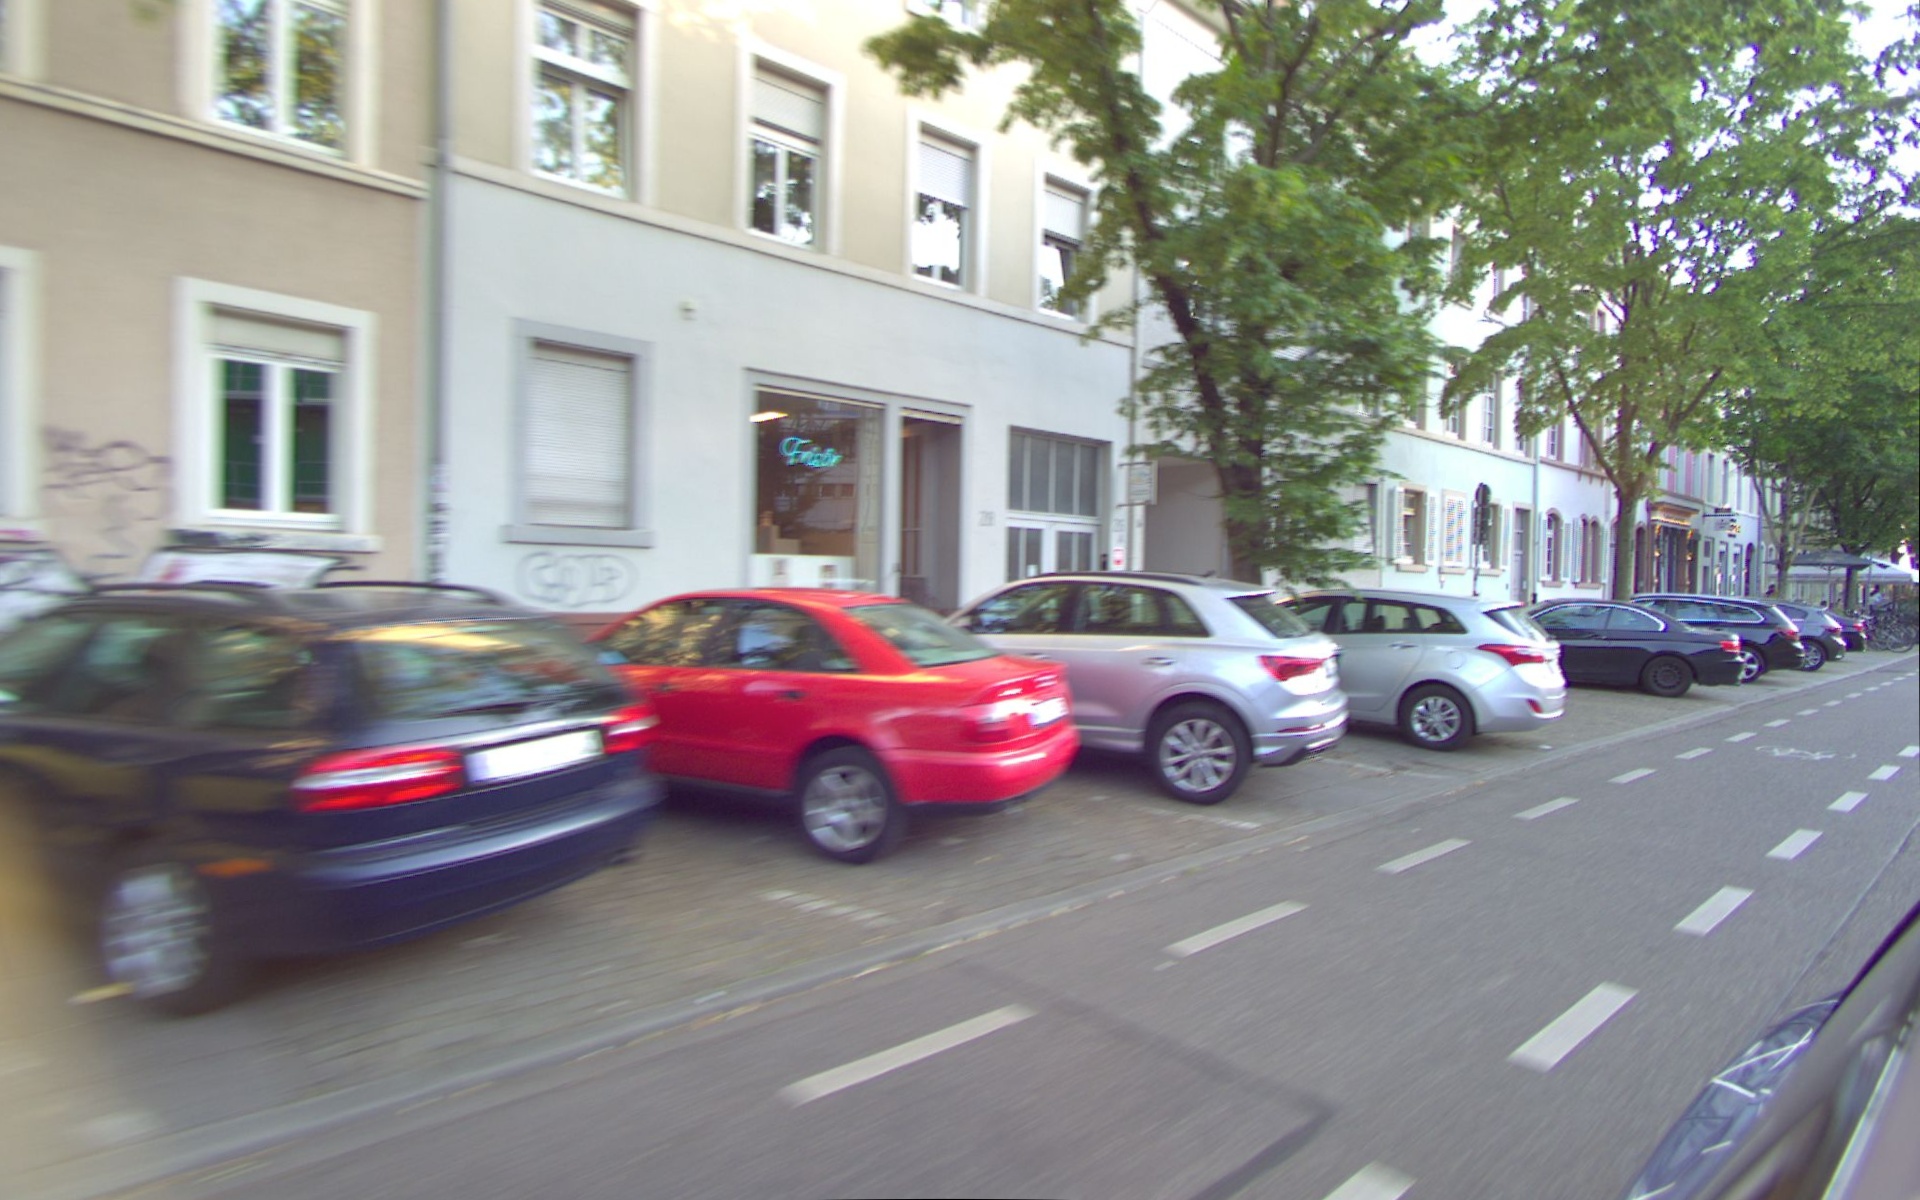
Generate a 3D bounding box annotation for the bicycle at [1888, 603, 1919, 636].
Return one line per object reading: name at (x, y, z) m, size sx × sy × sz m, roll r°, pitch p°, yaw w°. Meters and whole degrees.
bicycle at (32.156, 0.677, 33.744) m, size 0.547 × 1.044 × 1.682 m, roll 0°, pitch 4°, yaw -42°

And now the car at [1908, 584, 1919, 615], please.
car at (54.322, 0.123, 54.415) m, size 1.973 × 1.708 × 4.659 m, roll 1°, pitch 4°, yaw -41°

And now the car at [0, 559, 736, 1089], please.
car at (-3.287, 0.591, 4.677) m, size 4.091 × 1.442 × 1.905 m, roll 3°, pitch 3°, yaw 25°

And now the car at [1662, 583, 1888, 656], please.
car at (20.479, 0.426, 25.693) m, size 4.143 × 1.443 × 1.804 m, roll 5°, pitch 3°, yaw 31°

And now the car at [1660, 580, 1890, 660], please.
car at (19.053, 0.395, 23.930) m, size 3.935 × 1.488 × 1.977 m, roll 5°, pitch 3°, yaw 33°

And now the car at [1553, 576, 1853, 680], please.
car at (13.609, 0.435, 18.900) m, size 4.088 × 1.488 × 1.998 m, roll 5°, pitch 3°, yaw 25°

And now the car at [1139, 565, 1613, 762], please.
car at (4.286, 0.480, 10.755) m, size 4.245 × 1.568 × 1.991 m, roll 4°, pitch 3°, yaw 39°

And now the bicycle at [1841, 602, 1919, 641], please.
bicycle at (28.835, 0.655, 31.589) m, size 0.598 × 1.044 × 1.890 m, roll 0°, pitch 4°, yaw -42°

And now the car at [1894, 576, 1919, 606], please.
car at (62.226, -0.476, 63.431) m, size 4.942 × 1.849 × 2.184 m, roll 4°, pitch 3°, yaw 32°

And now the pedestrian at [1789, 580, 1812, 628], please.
pedestrian at (32.054, 0.140, 38.583) m, size 0.548 × 1.785 × 0.707 m, roll 1°, pitch 1°, yaw 32°

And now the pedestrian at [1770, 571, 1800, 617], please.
pedestrian at (32.599, -0.230, 39.996) m, size 0.696 × 1.785 × 0.710 m, roll 0°, pitch 0°, yaw 22°

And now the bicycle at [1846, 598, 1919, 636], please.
bicycle at (29.842, 0.546, 32.557) m, size 0.598 × 1.044 × 1.890 m, roll 0°, pitch 4°, yaw -42°

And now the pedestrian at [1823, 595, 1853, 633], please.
pedestrian at (31.146, 0.487, 35.897) m, size 0.588 × 1.308 × 0.504 m, roll 0°, pitch 0°, yaw -2°

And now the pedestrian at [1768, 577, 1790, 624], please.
pedestrian at (31.391, 0.017, 38.793) m, size 0.548 × 1.785 × 0.843 m, roll 0°, pitch 0°, yaw 32°

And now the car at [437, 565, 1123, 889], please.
car at (-1.183, 0.562, 6.618) m, size 4.091 × 1.442 × 1.883 m, roll 3°, pitch 3°, yaw 25°

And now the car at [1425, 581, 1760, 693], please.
car at (9.754, 0.487, 16.096) m, size 4.221 × 1.409 × 1.998 m, roll 3°, pitch 3°, yaw 26°

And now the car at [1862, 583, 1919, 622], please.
car at (41.684, 0.158, 43.514) m, size 3.932 × 1.572 × 1.692 m, roll 3°, pitch 3°, yaw 25°

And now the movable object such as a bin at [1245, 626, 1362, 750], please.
movable object such as a bin at (3.173, 0.785, 9.358) m, size 0.820 × 0.993 × 0.583 m, roll 6°, pitch 5°, yaw 39°

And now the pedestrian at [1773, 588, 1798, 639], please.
pedestrian at (29.297, 0.468, 35.919) m, size 0.878 × 1.785 × 0.551 m, roll 0°, pitch 0°, yaw -41°

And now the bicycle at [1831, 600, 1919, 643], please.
bicycle at (27.309, 0.622, 30.187) m, size 0.663 × 1.080 × 1.890 m, roll 0°, pitch 4°, yaw -42°

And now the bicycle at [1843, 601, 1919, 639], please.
bicycle at (29.311, 0.627, 32.068) m, size 0.598 × 1.044 × 1.890 m, roll 0°, pitch 4°, yaw -42°

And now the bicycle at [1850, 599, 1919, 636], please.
bicycle at (30.363, 0.552, 33.012) m, size 0.598 × 1.044 × 1.890 m, roll 0°, pitch 4°, yaw -42°

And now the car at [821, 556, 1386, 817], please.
car at (1.140, 0.491, 8.345) m, size 4.224 × 1.579 × 1.881 m, roll 3°, pitch 3°, yaw 27°

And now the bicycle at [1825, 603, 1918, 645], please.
bicycle at (26.391, 0.675, 29.325) m, size 0.524 × 1.044 × 1.907 m, roll 0°, pitch 4°, yaw -42°

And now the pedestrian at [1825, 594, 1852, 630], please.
pedestrian at (33.632, 0.460, 38.743) m, size 0.546 × 1.322 × 0.710 m, roll 2°, pitch 1°, yaw 22°

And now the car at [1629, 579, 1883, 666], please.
car at (17.295, 0.418, 22.294) m, size 4.099 × 1.488 × 1.803 m, roll 5°, pitch 3°, yaw 32°

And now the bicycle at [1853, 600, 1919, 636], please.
bicycle at (30.829, 0.591, 33.471) m, size 0.598 × 1.044 × 1.819 m, roll 0°, pitch 4°, yaw -42°

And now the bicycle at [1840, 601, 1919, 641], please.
bicycle at (28.336, 0.624, 31.063) m, size 0.598 × 1.044 × 1.890 m, roll 0°, pitch 4°, yaw -42°

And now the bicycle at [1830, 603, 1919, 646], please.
bicycle at (26.828, 0.701, 29.704) m, size 0.581 × 1.044 × 1.866 m, roll 0°, pitch 4°, yaw -43°

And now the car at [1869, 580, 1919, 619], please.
car at (47.415, 0.043, 49.265) m, size 4.112 × 1.828 × 1.994 m, roll 3°, pitch 2°, yaw 21°

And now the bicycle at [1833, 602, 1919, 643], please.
bicycle at (27.799, 0.654, 30.671) m, size 0.598 × 1.044 × 1.890 m, roll 0°, pitch 4°, yaw -42°

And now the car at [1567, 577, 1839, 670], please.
car at (15.026, 0.397, 20.805) m, size 4.088 × 1.488 × 1.970 m, roll 5°, pitch 3°, yaw 25°
